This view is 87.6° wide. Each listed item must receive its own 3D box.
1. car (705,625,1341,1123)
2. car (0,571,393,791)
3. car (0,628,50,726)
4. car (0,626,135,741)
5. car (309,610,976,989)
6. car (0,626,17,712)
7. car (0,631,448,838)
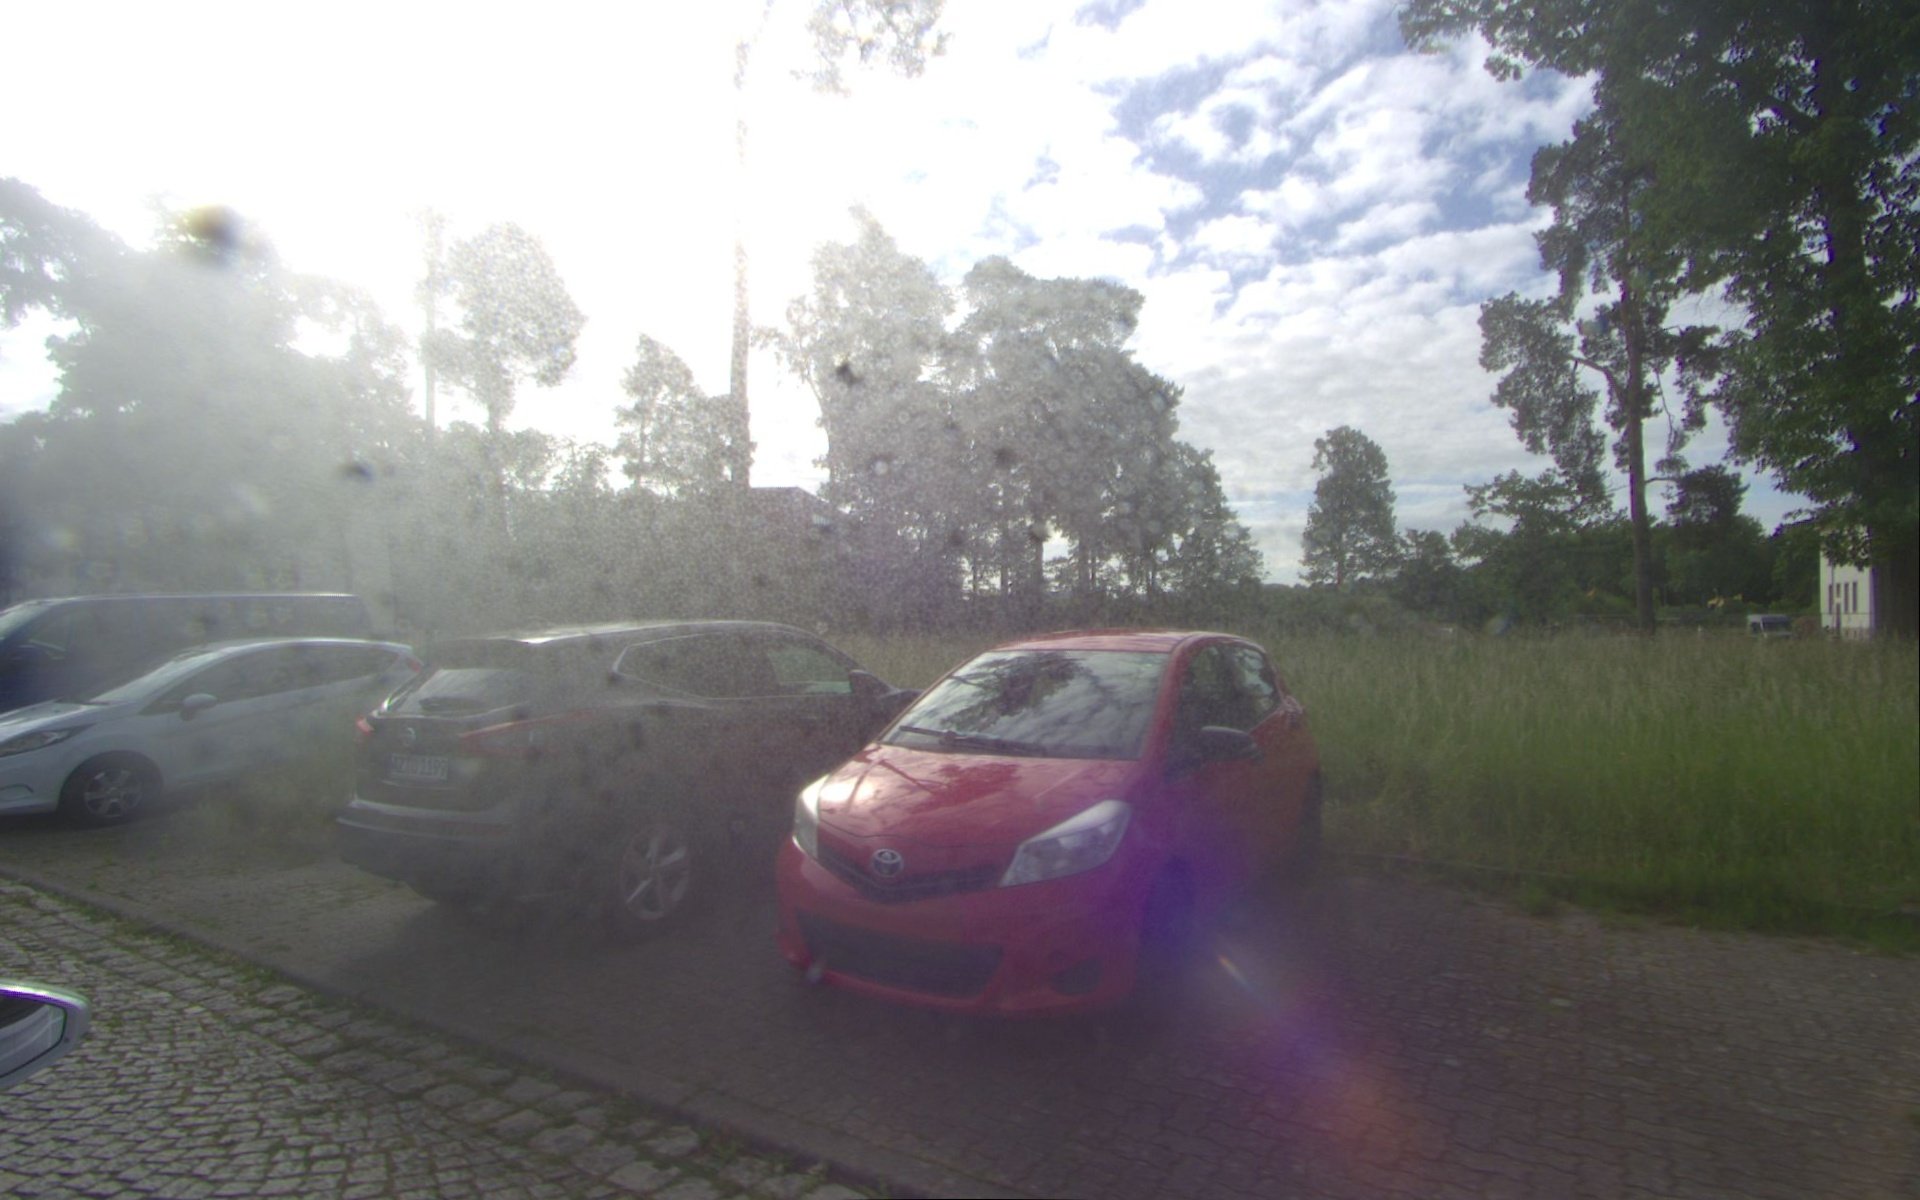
[{"bbox_3d":[0.730,0.909,5.284,1.713,1.538,3.981,0,-1,31],"label":"car"},{"bbox_3d":[-9.081,0.799,10.999,1.712,2.066,4.778,0,-1,29],"label":"car"},{"bbox_3d":[-16.277,1.204,14.988,1.635,1.526,3.602,0,-1,21],"label":"car"},{"bbox_3d":[-13.682,1.136,13.749,1.639,1.524,3.289,0,-1,29],"label":"car"},{"bbox_3d":[-1.602,0.901,6.392,1.736,1.600,3.946,0,-1,30],"label":"car"},{"bbox_3d":[-18.437,1.212,16.896,1.635,1.524,3.296,0,-1,21],"label":"car"},{"bbox_3d":[-7.106,1.081,9.515,1.629,1.443,3.718,-1,0,29],"label":"car"}]
